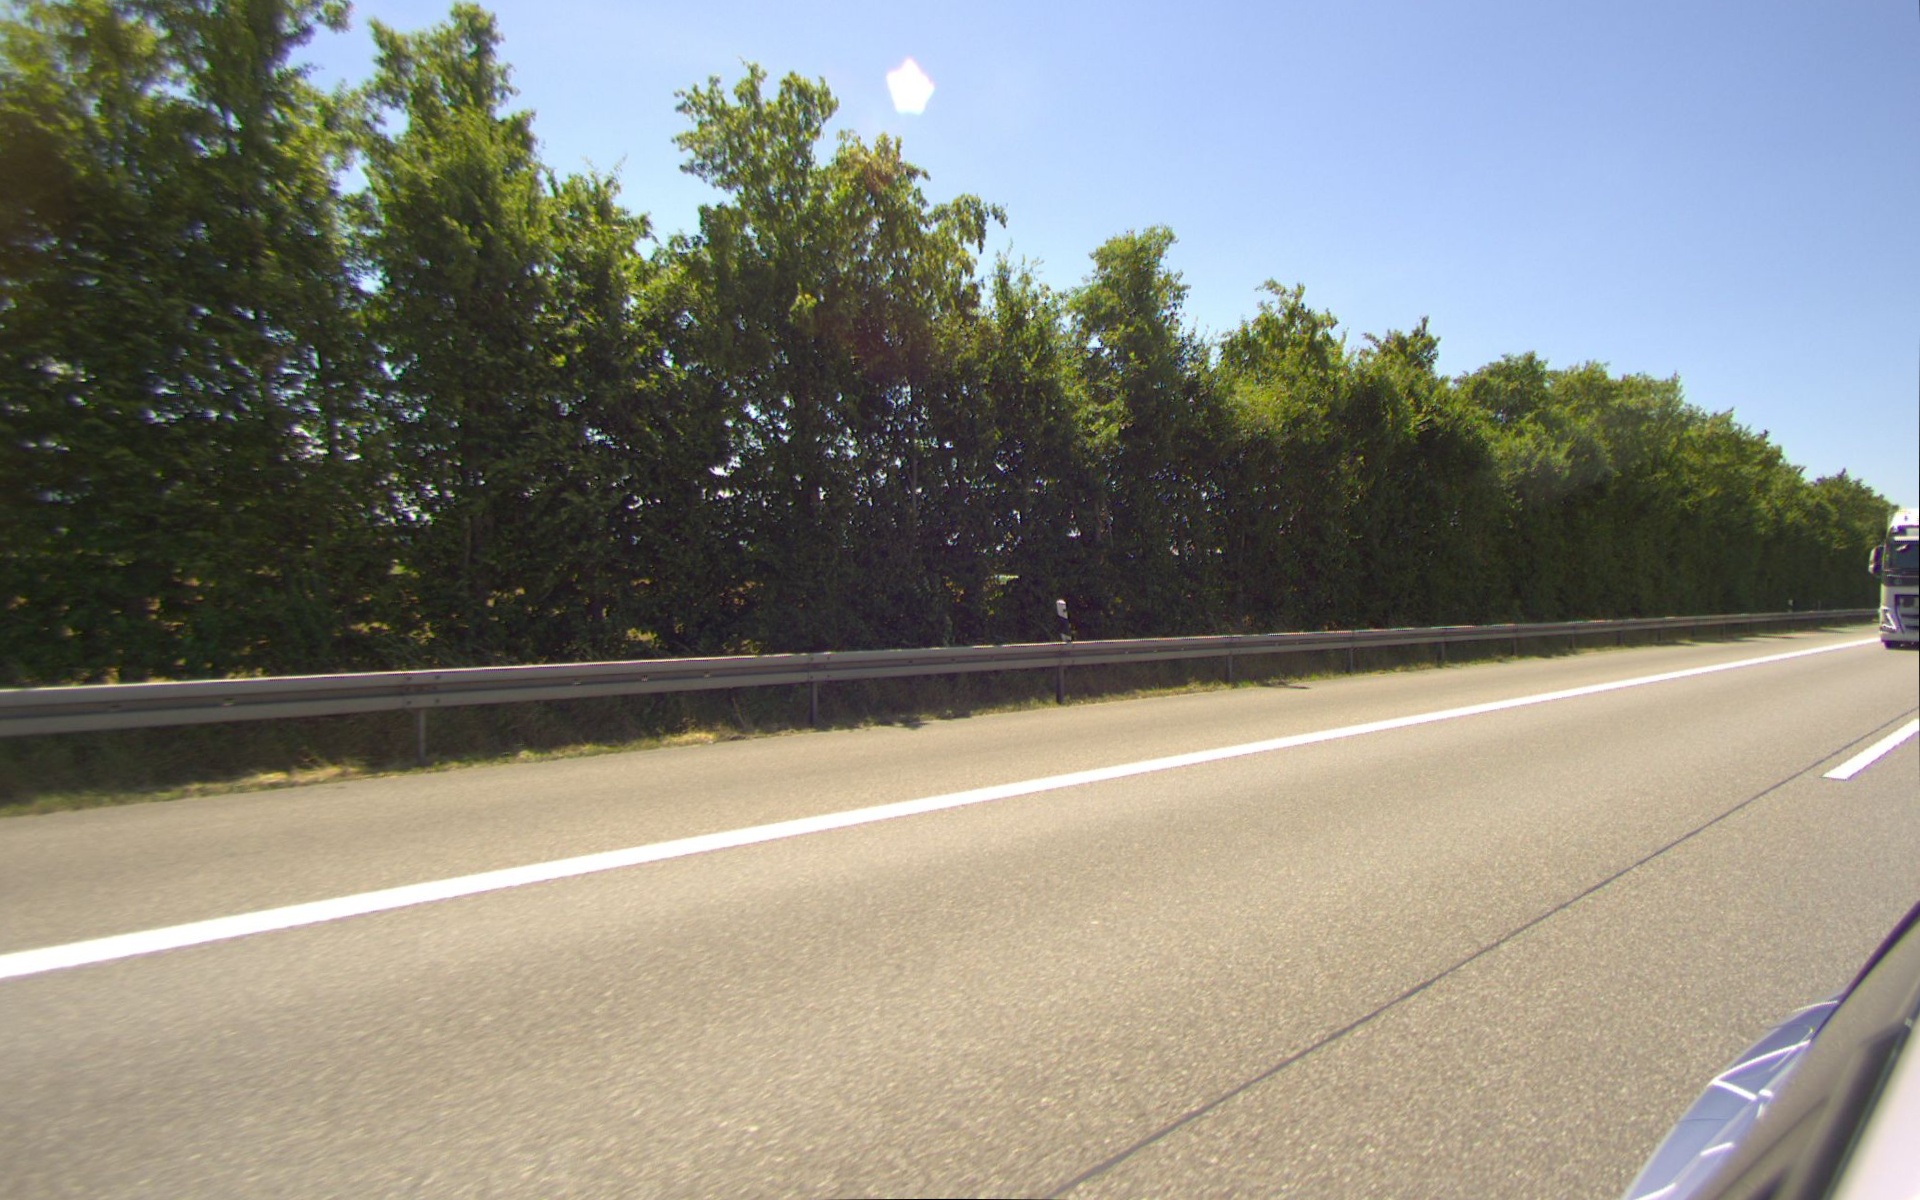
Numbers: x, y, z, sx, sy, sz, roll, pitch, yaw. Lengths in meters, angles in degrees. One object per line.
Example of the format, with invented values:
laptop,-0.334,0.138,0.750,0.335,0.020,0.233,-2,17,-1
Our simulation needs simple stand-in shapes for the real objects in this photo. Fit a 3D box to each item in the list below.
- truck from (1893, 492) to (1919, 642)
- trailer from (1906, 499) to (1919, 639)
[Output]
truck,29.151,-0.932,29.249,6.209,4.113,2.474,0,0,-41
trailer,33.836,-0.969,33.278,13.637,4.113,2.474,-1,0,-41
